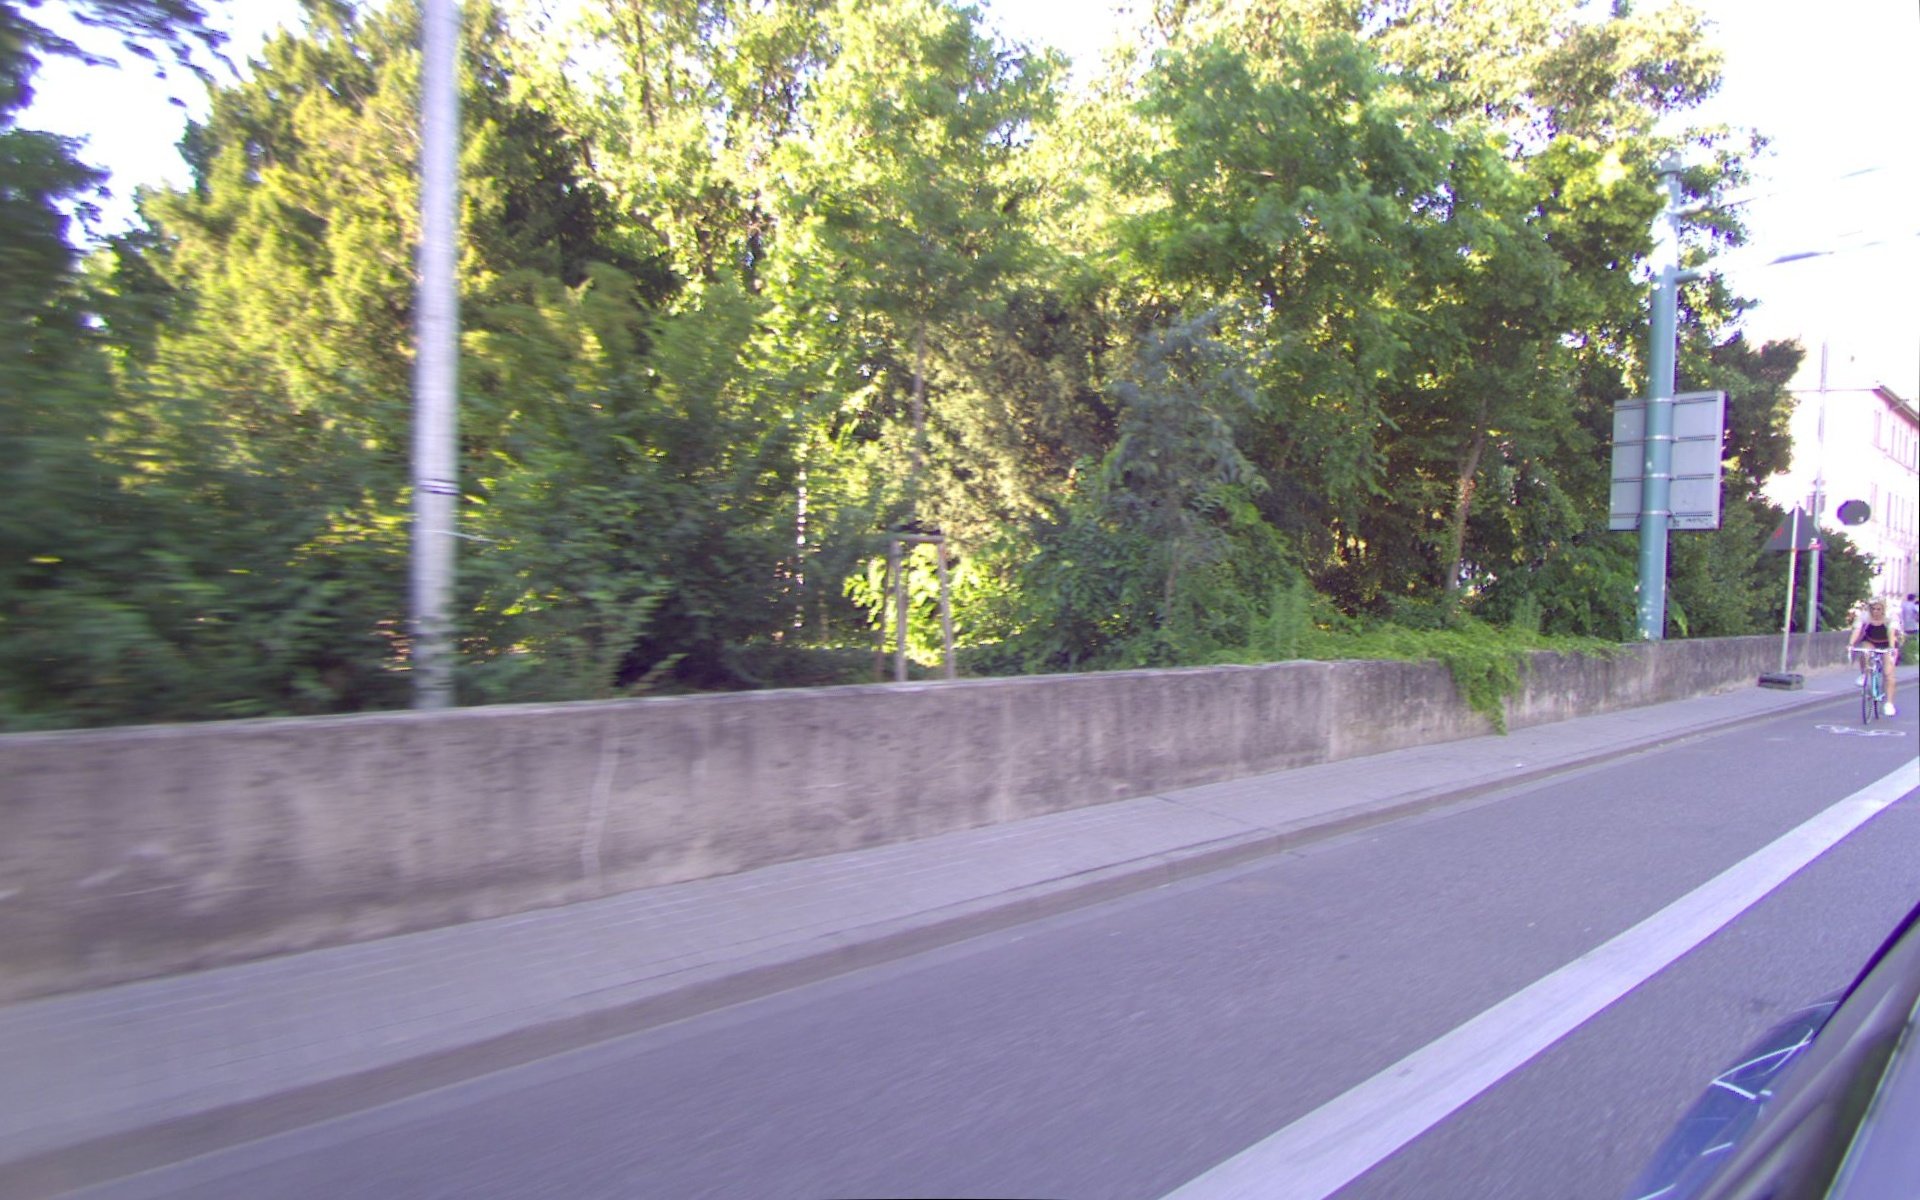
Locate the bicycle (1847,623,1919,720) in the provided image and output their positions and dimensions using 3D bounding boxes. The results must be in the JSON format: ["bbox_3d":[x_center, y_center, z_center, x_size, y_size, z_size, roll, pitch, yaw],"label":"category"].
[{"bbox_3d":[11.627,0.854,12.647,1.810,1.111,0.521,0,-1,-40],"label":"bicycle"}]

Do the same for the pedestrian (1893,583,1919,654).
[{"bbox_3d":[25.508,0.494,26.732,0.848,1.824,0.903,4,3,16],"label":"pedestrian"}]

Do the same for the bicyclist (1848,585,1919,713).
[{"bbox_3d":[11.568,0.583,12.606,1.062,1.509,0.553,1,1,-40],"label":"bicyclist"}]

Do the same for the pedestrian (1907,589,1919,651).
[{"bbox_3d":[26.066,0.552,27.193,0.766,1.656,0.758,5,3,41],"label":"pedestrian"}]
